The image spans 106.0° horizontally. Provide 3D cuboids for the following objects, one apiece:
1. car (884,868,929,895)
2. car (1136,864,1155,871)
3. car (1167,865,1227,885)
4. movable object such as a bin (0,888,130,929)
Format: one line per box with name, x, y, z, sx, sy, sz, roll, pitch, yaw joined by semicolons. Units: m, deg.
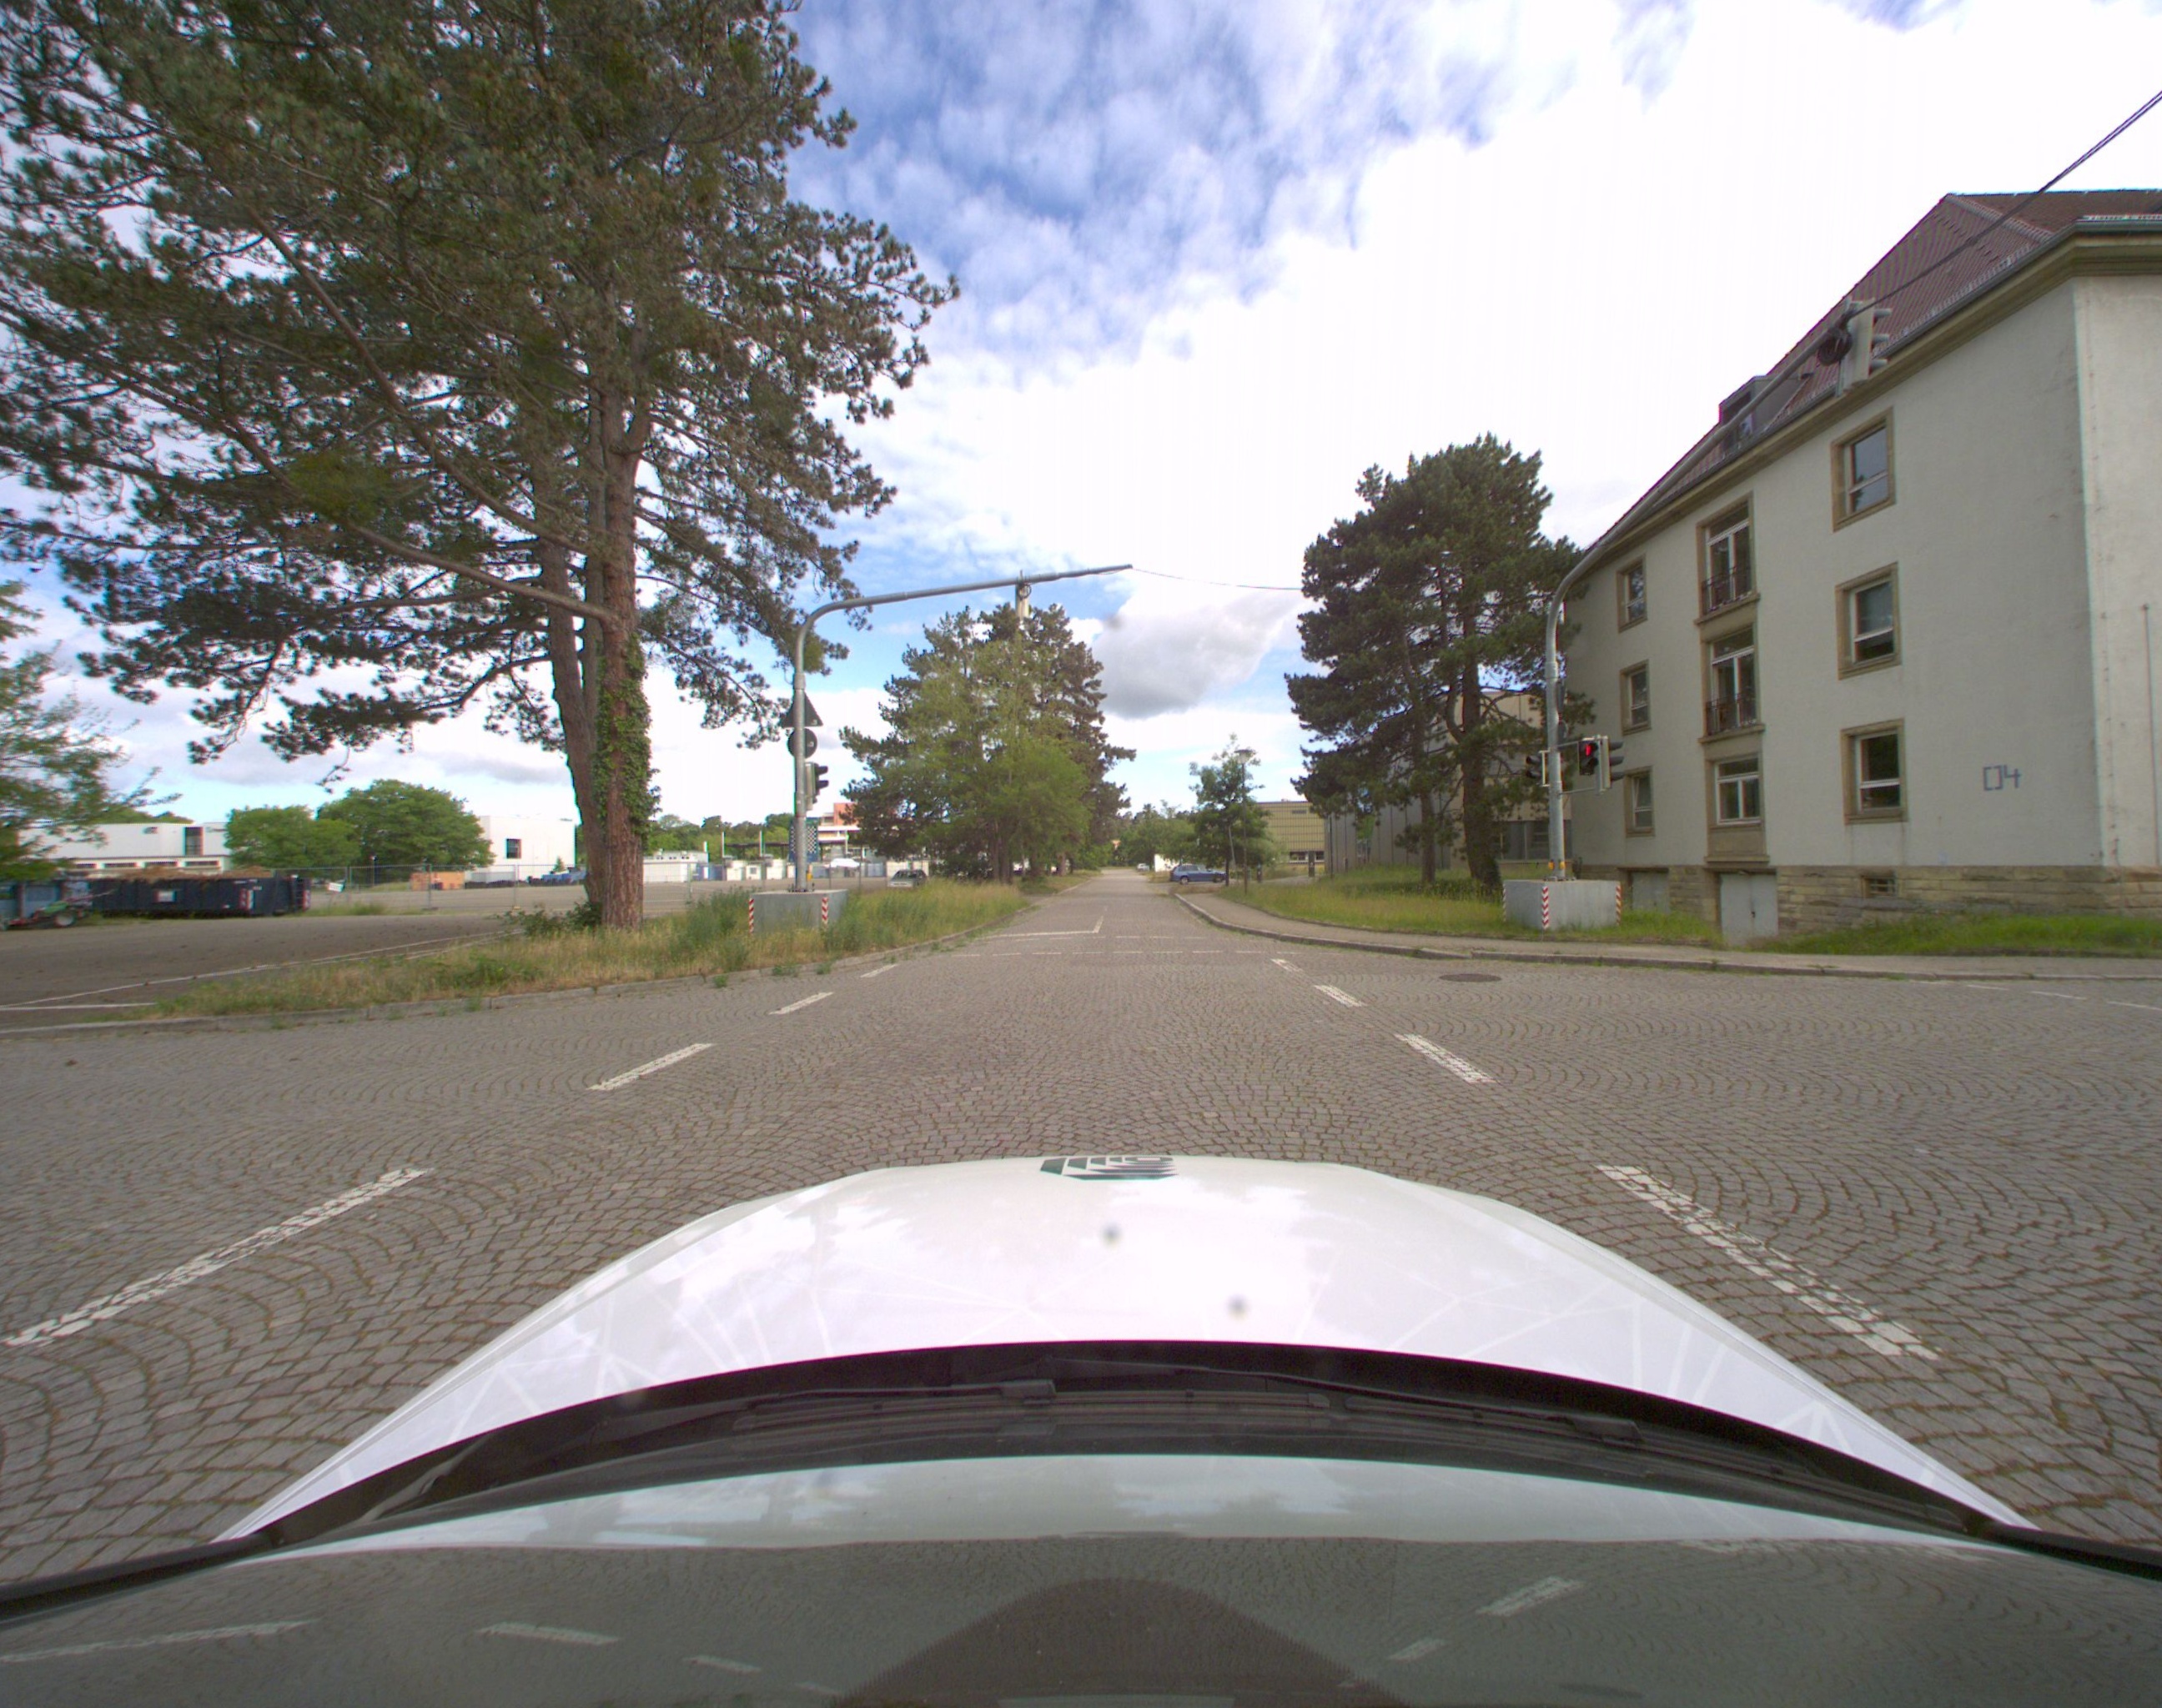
car;-10.318;1.619;48.509;1.606;1.487;4.003;-1;-1;3
car;14.164;2.925;179.593;3.978;1.398;1.998;-1;-1;-3
car;8.888;1.576;62.563;4.329;1.422;2.000;-1;-1;0
movable object such as a bin;-30.487;1.606;24.271;1.175;1.048;2.656;-1;-1;-2
